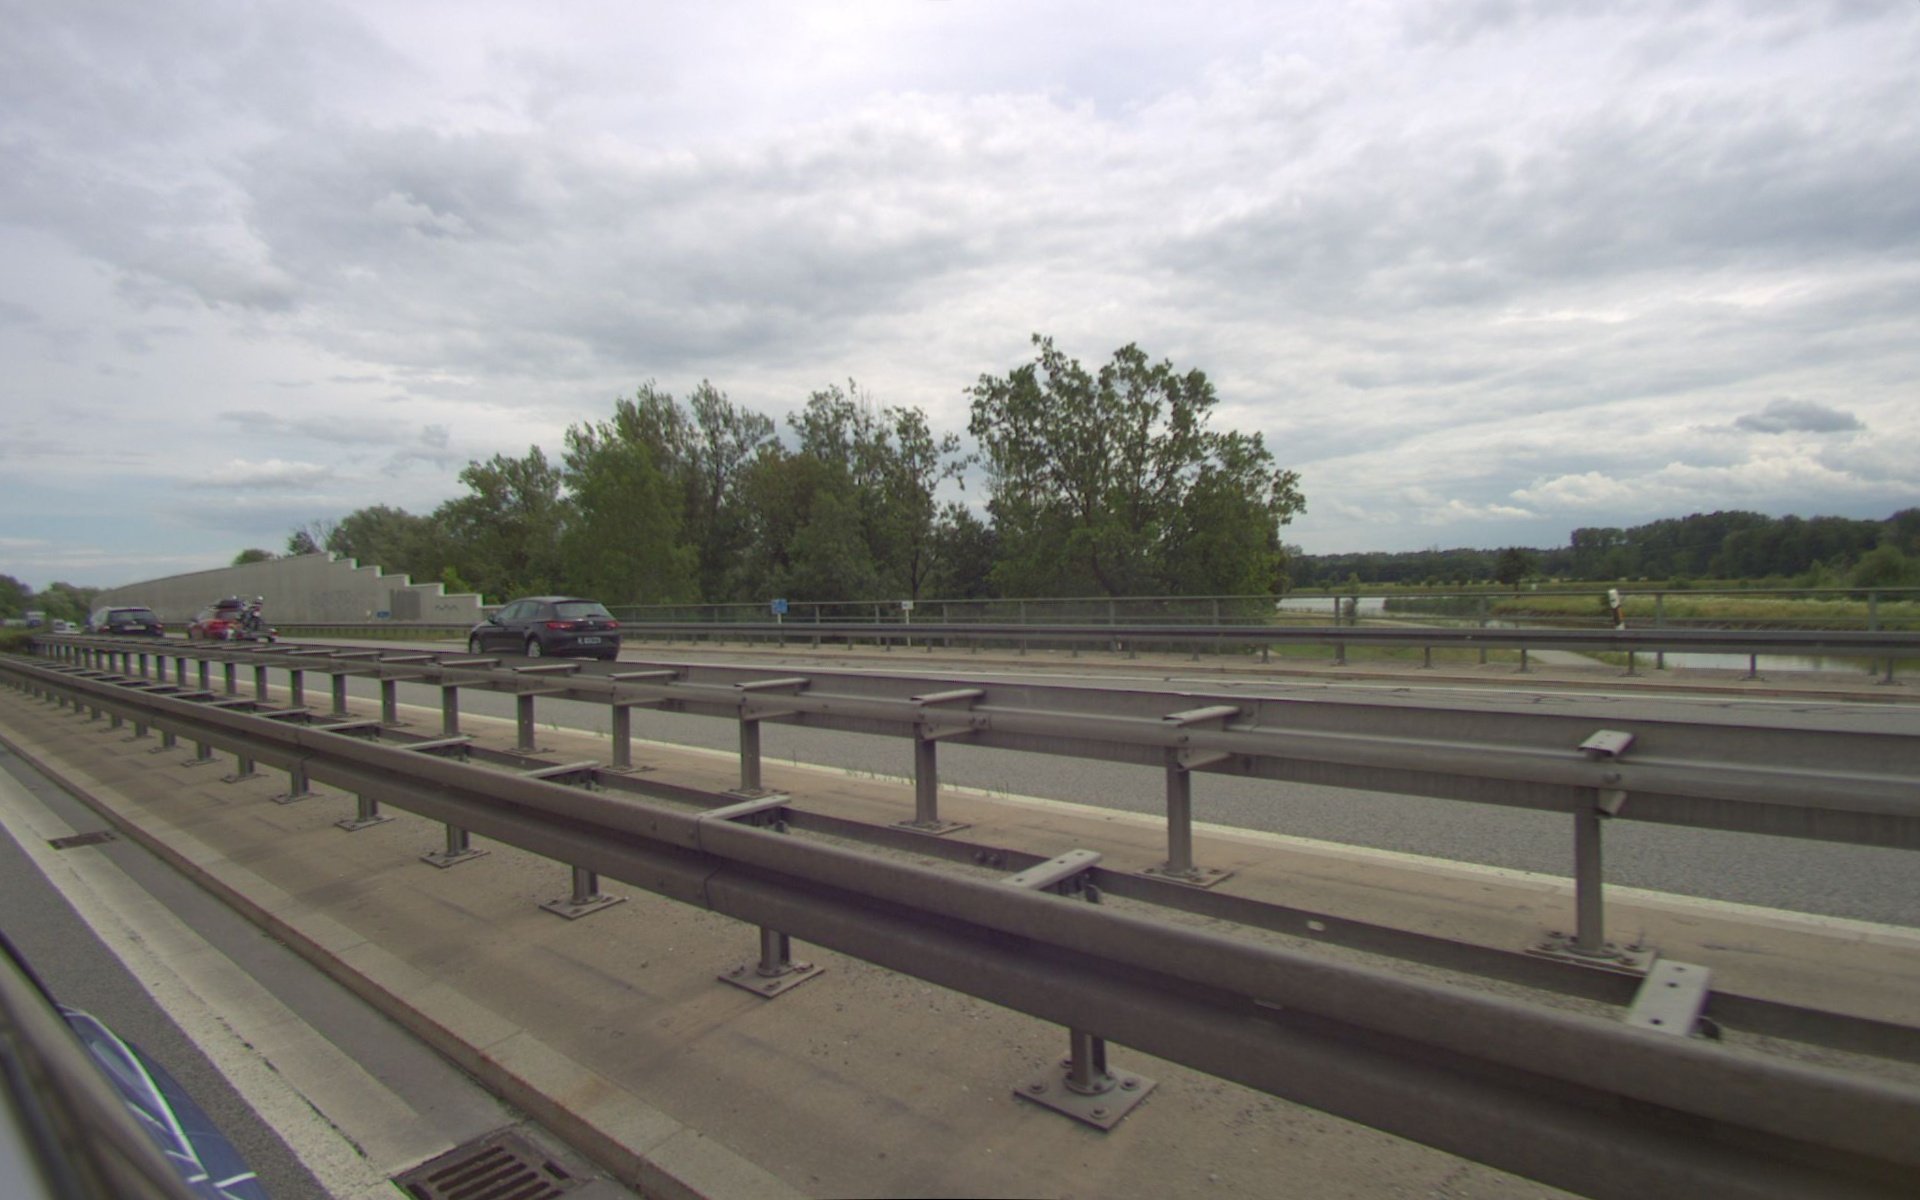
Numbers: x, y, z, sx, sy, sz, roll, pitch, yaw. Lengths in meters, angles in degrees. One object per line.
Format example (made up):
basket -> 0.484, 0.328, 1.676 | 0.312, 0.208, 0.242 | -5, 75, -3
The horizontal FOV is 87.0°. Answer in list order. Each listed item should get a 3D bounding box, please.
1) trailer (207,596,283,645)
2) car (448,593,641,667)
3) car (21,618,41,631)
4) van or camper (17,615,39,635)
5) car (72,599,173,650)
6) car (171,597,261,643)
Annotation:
trailer -> -27.184, 0.770, 38.437 | 3.374, 1.761, 1.631 | -1, 0, 42
car -> -8.919, 0.621, 21.526 | 4.708, 1.414, 1.949 | -1, -1, 42
car -> -116.597, 3.119, 127.026 | 1.790, 1.558, 4.520 | 0, -1, -43
van or camper -> -139.776, 3.752, 151.772 | 5.757, 2.800, 2.229 | -2, -1, 45
car -> -27.358, 0.785, 32.993 | 4.833, 1.542, 1.821 | -1, -2, 42
car -> -30.331, 0.811, 41.210 | 4.943, 1.774, 1.949 | -1, -1, 42
